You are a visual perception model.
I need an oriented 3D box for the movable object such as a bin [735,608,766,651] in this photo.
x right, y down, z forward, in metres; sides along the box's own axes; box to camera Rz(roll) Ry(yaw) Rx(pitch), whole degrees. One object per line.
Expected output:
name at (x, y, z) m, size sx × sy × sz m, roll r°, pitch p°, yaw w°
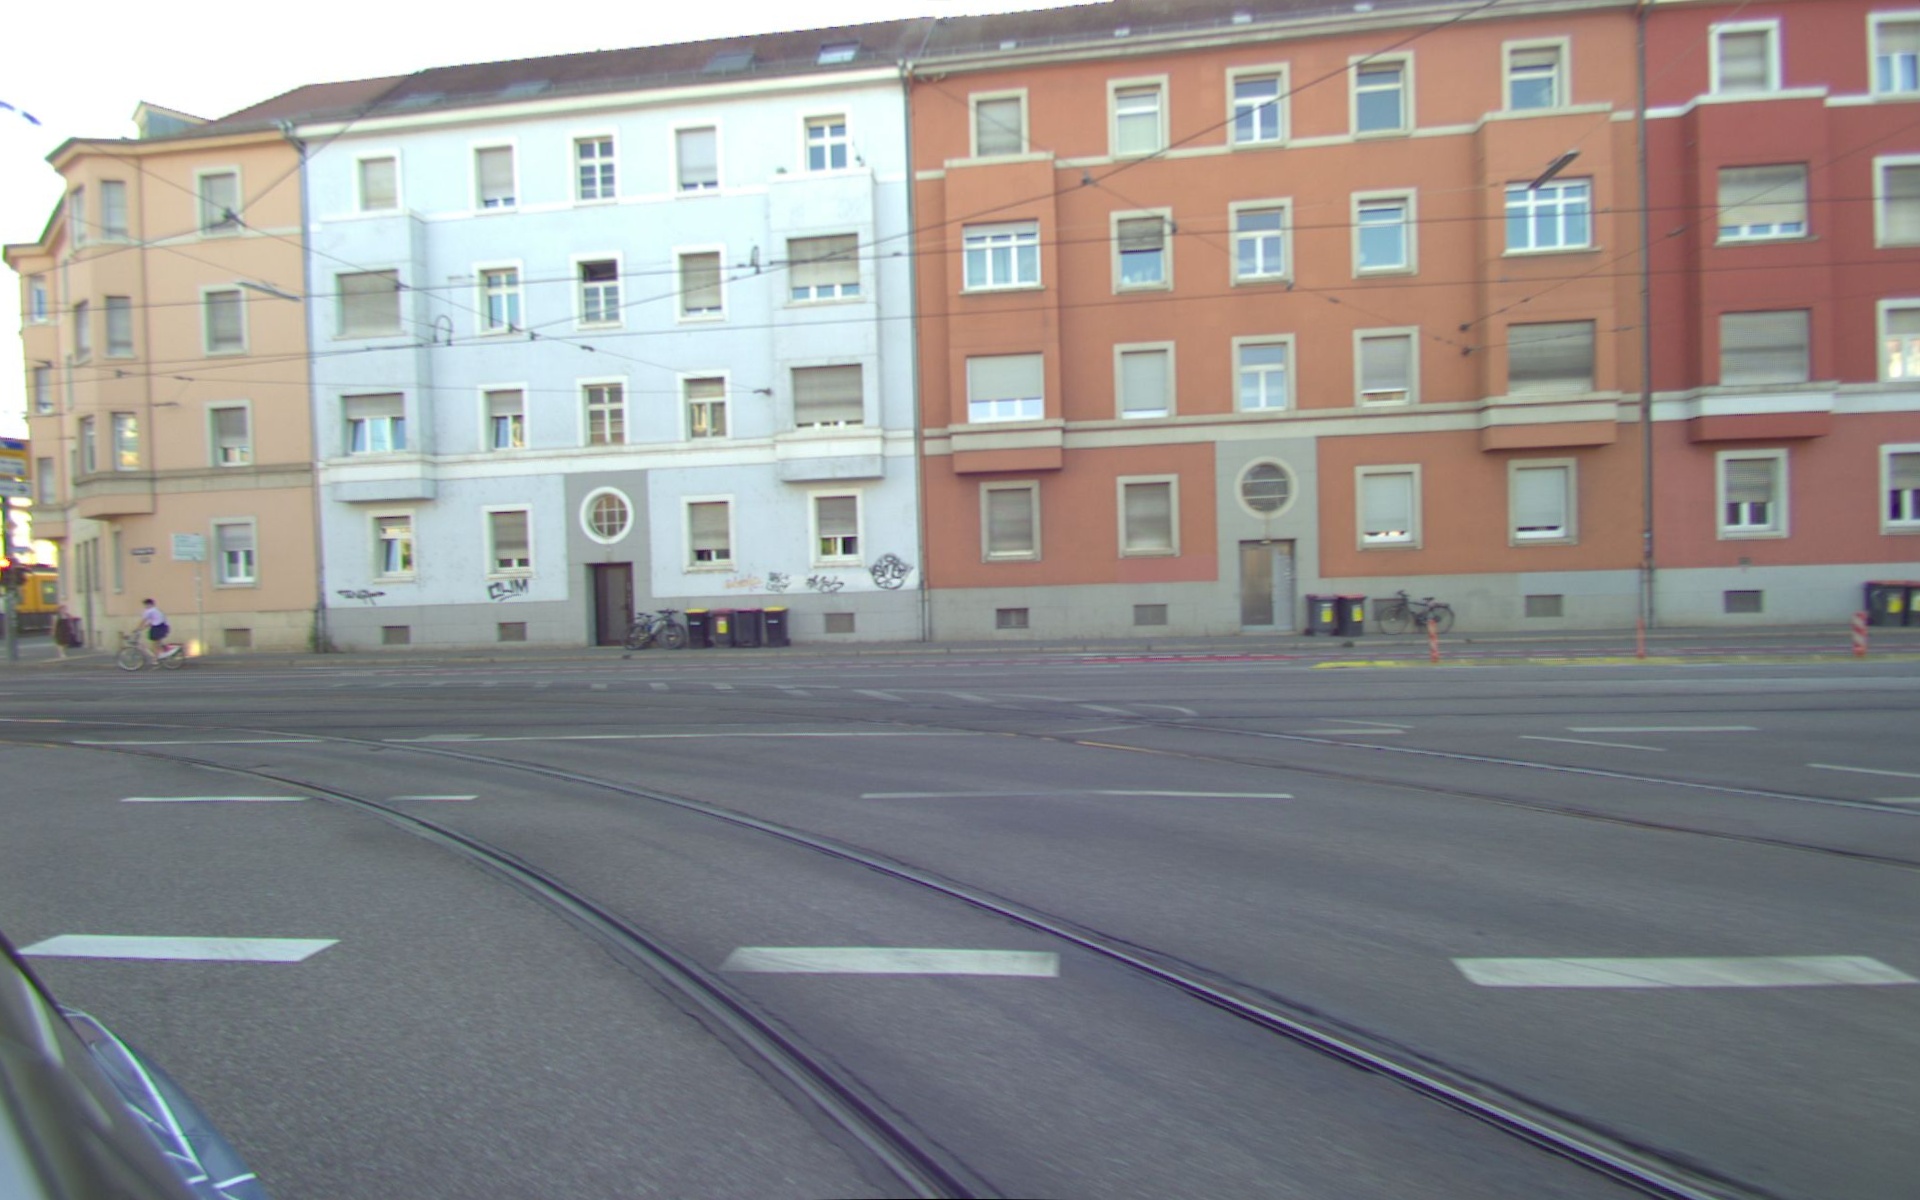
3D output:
movable object such as a bin at (-5.591, 0.781, 27.059) m, size 0.575 × 1.114 × 0.703 m, roll -1°, pitch 1°, yaw 7°

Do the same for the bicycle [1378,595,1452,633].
bicycle at (11.145, 0.345, 24.830) m, size 1.588 × 0.897 × 0.334 m, roll -1°, pitch 1°, yaw 12°

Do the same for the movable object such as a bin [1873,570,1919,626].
movable object such as a bin at (21.914, -0.055, 23.146) m, size 1.221 × 1.259 × 0.869 m, roll -1°, pitch 0°, yaw 14°

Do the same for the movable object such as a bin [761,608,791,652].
movable object such as a bin at (-4.878, 0.785, 26.908) m, size 0.575 × 1.114 × 0.703 m, roll -1°, pitch 1°, yaw 7°

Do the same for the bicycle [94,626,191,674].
bicycle at (-21.695, 1.327, 26.877) m, size 2.127 × 1.200 × 0.747 m, roll -1°, pitch 1°, yaw 8°

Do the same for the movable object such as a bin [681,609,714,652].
movable object such as a bin at (-7.058, 0.809, 27.240) m, size 0.641 × 1.114 × 0.703 m, roll -1°, pitch 1°, yaw 7°

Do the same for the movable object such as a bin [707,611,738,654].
movable object such as a bin at (-6.383, 0.872, 27.163) m, size 0.575 × 1.114 × 0.703 m, roll -1°, pitch 1°, yaw 7°

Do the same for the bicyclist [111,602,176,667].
bicyclist at (-21.678, 0.913, 26.880) m, size 1.113 × 1.655 × 0.747 m, roll -1°, pitch 1°, yaw 8°

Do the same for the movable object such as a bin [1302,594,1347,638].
movable object such as a bin at (8.937, 0.382, 24.837) m, size 0.801 × 1.048 × 0.845 m, roll -1°, pitch 1°, yaw 3°

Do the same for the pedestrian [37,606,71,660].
pedestrian at (-27.310, 0.986, 30.510) m, size 0.720 × 1.575 × 0.668 m, roll -1°, pitch 1°, yaw 42°

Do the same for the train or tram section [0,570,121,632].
train or tram section at (-55.042, -0.021, 60.492) m, size 3.113 × 3.381 × 10.711 m, roll -2°, pitch 2°, yaw -14°

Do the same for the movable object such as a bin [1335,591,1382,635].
movable object such as a bin at (9.749, 0.311, 24.789) m, size 0.801 × 1.048 × 0.845 m, roll -1°, pitch 1°, yaw 3°

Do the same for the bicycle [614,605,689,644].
bicycle at (-8.364, 0.670, 27.456) m, size 1.855 × 0.987 × 0.606 m, roll -1°, pitch 2°, yaw 8°

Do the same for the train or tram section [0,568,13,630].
train or tram section at (-52.288, 0.072, 49.617) m, size 3.115 × 3.345 × 11.851 m, roll -2°, pitch 1°, yaw -14°
